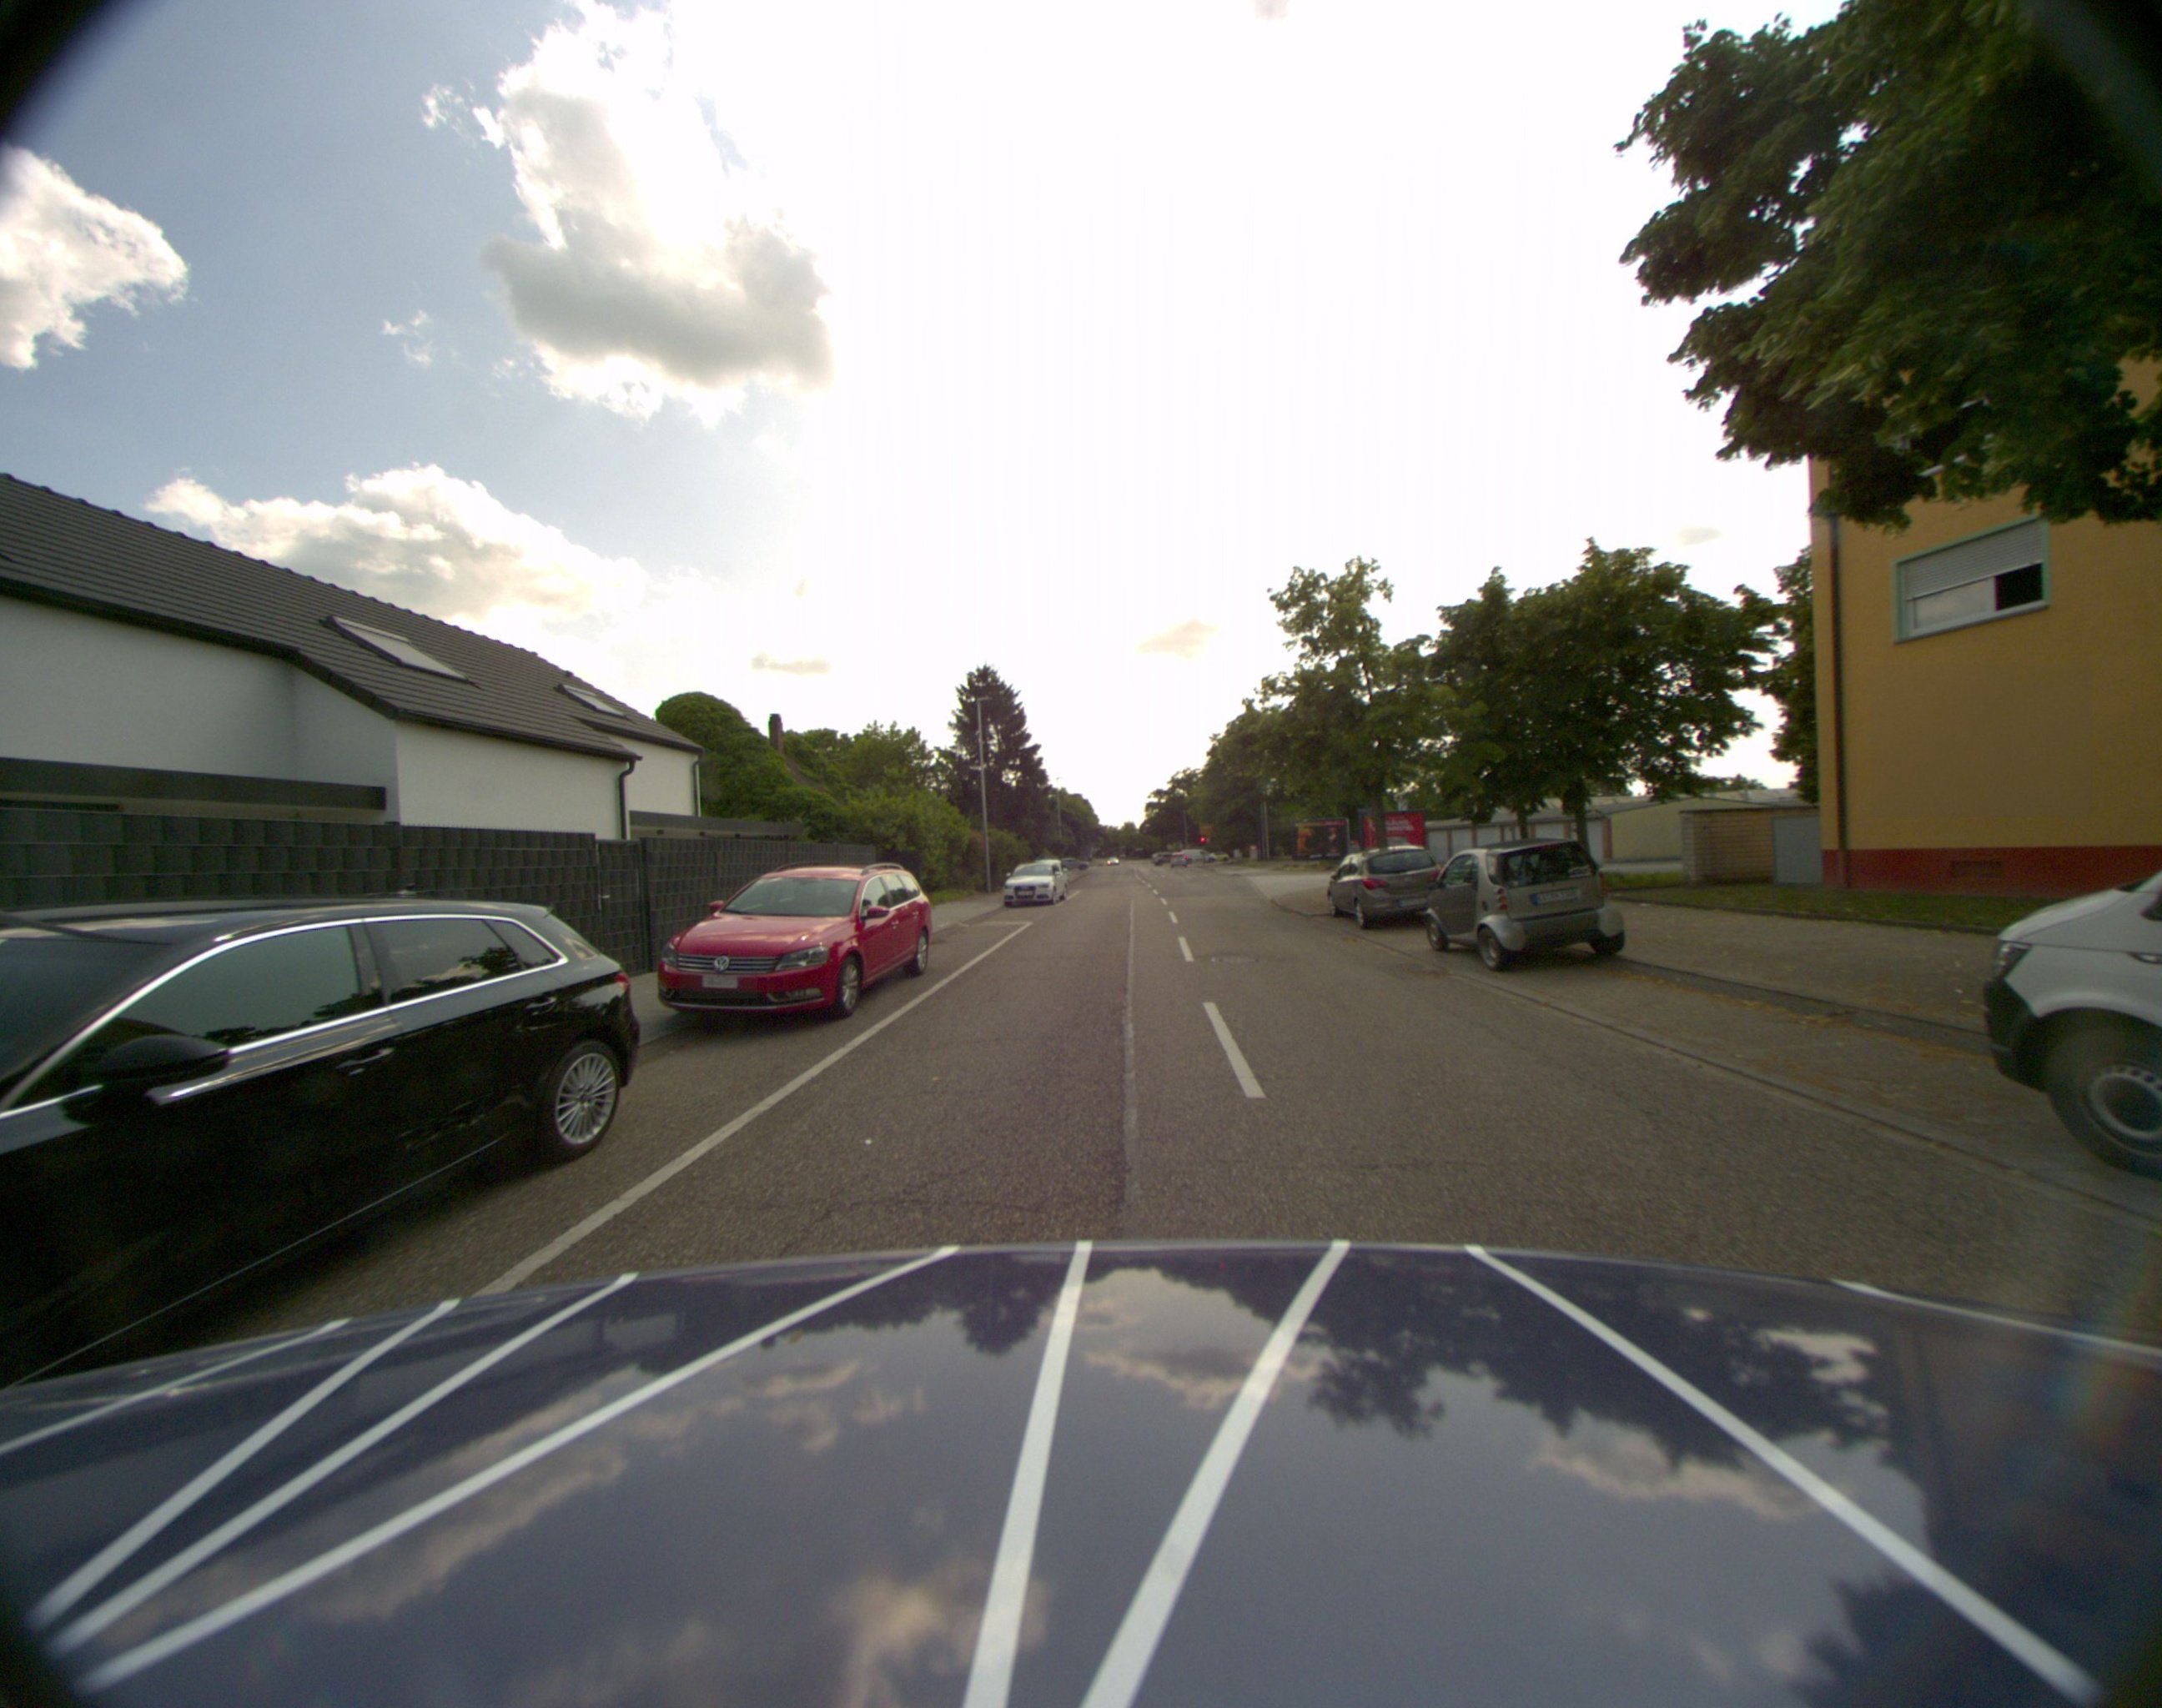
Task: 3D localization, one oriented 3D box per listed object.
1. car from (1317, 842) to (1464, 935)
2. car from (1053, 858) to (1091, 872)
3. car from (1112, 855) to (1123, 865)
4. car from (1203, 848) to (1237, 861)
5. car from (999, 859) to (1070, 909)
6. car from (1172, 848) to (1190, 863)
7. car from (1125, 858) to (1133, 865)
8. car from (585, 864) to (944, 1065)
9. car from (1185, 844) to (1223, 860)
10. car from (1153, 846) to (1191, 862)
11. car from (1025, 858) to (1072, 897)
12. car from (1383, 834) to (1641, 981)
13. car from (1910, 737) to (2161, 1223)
[{"bbox_3d":[6.174,0.593,15.644,1.687,1.478,3.984,-5,1,7],"label":"car"},{"bbox_3d":[-1.196,1.325,95.094,4.534,1.450,1.727,-3,0,-7],"label":"car"},{"bbox_3d":[6.291,1.054,130.986,1.729,1.421,3.999,-2,2,2],"label":"car"},{"bbox_3d":[20.376,0.069,111.786,4.534,1.767,1.728,-3,1,-5],"label":"car"},{"bbox_3d":[-1.517,0.980,26.196,1.725,1.478,3.751,-3,0,7],"label":"car"},{"bbox_3d":[10.304,0.127,78.668,1.557,1.508,3.609,-3,0,4],"label":"car"},{"bbox_3d":[11.523,1.856,181.562,1.729,1.421,3.999,-2,2,2],"label":"car"},{"bbox_3d":[-3.136,0.983,8.840,1.854,1.570,4.734,-3,0,4],"label":"car"},{"bbox_3d":[16.478,-0.226,101.929,4.534,1.941,1.727,-3,1,-7],"label":"car"},{"bbox_3d":[11.622,-0.002,97.074,4.534,1.767,1.727,-3,1,-7],"label":"car"},{"bbox_3d":[-1.393,1.001,33.920,1.585,1.511,3.756,-3,0,4],"label":"car"},{"bbox_3d":[5.799,0.639,10.789,1.521,1.540,3.756,-8,0,3],"label":"car"},{"bbox_3d":[5.212,0.493,1.379,1.883,1.997,5.324,-2,0,5],"label":"car"}]
